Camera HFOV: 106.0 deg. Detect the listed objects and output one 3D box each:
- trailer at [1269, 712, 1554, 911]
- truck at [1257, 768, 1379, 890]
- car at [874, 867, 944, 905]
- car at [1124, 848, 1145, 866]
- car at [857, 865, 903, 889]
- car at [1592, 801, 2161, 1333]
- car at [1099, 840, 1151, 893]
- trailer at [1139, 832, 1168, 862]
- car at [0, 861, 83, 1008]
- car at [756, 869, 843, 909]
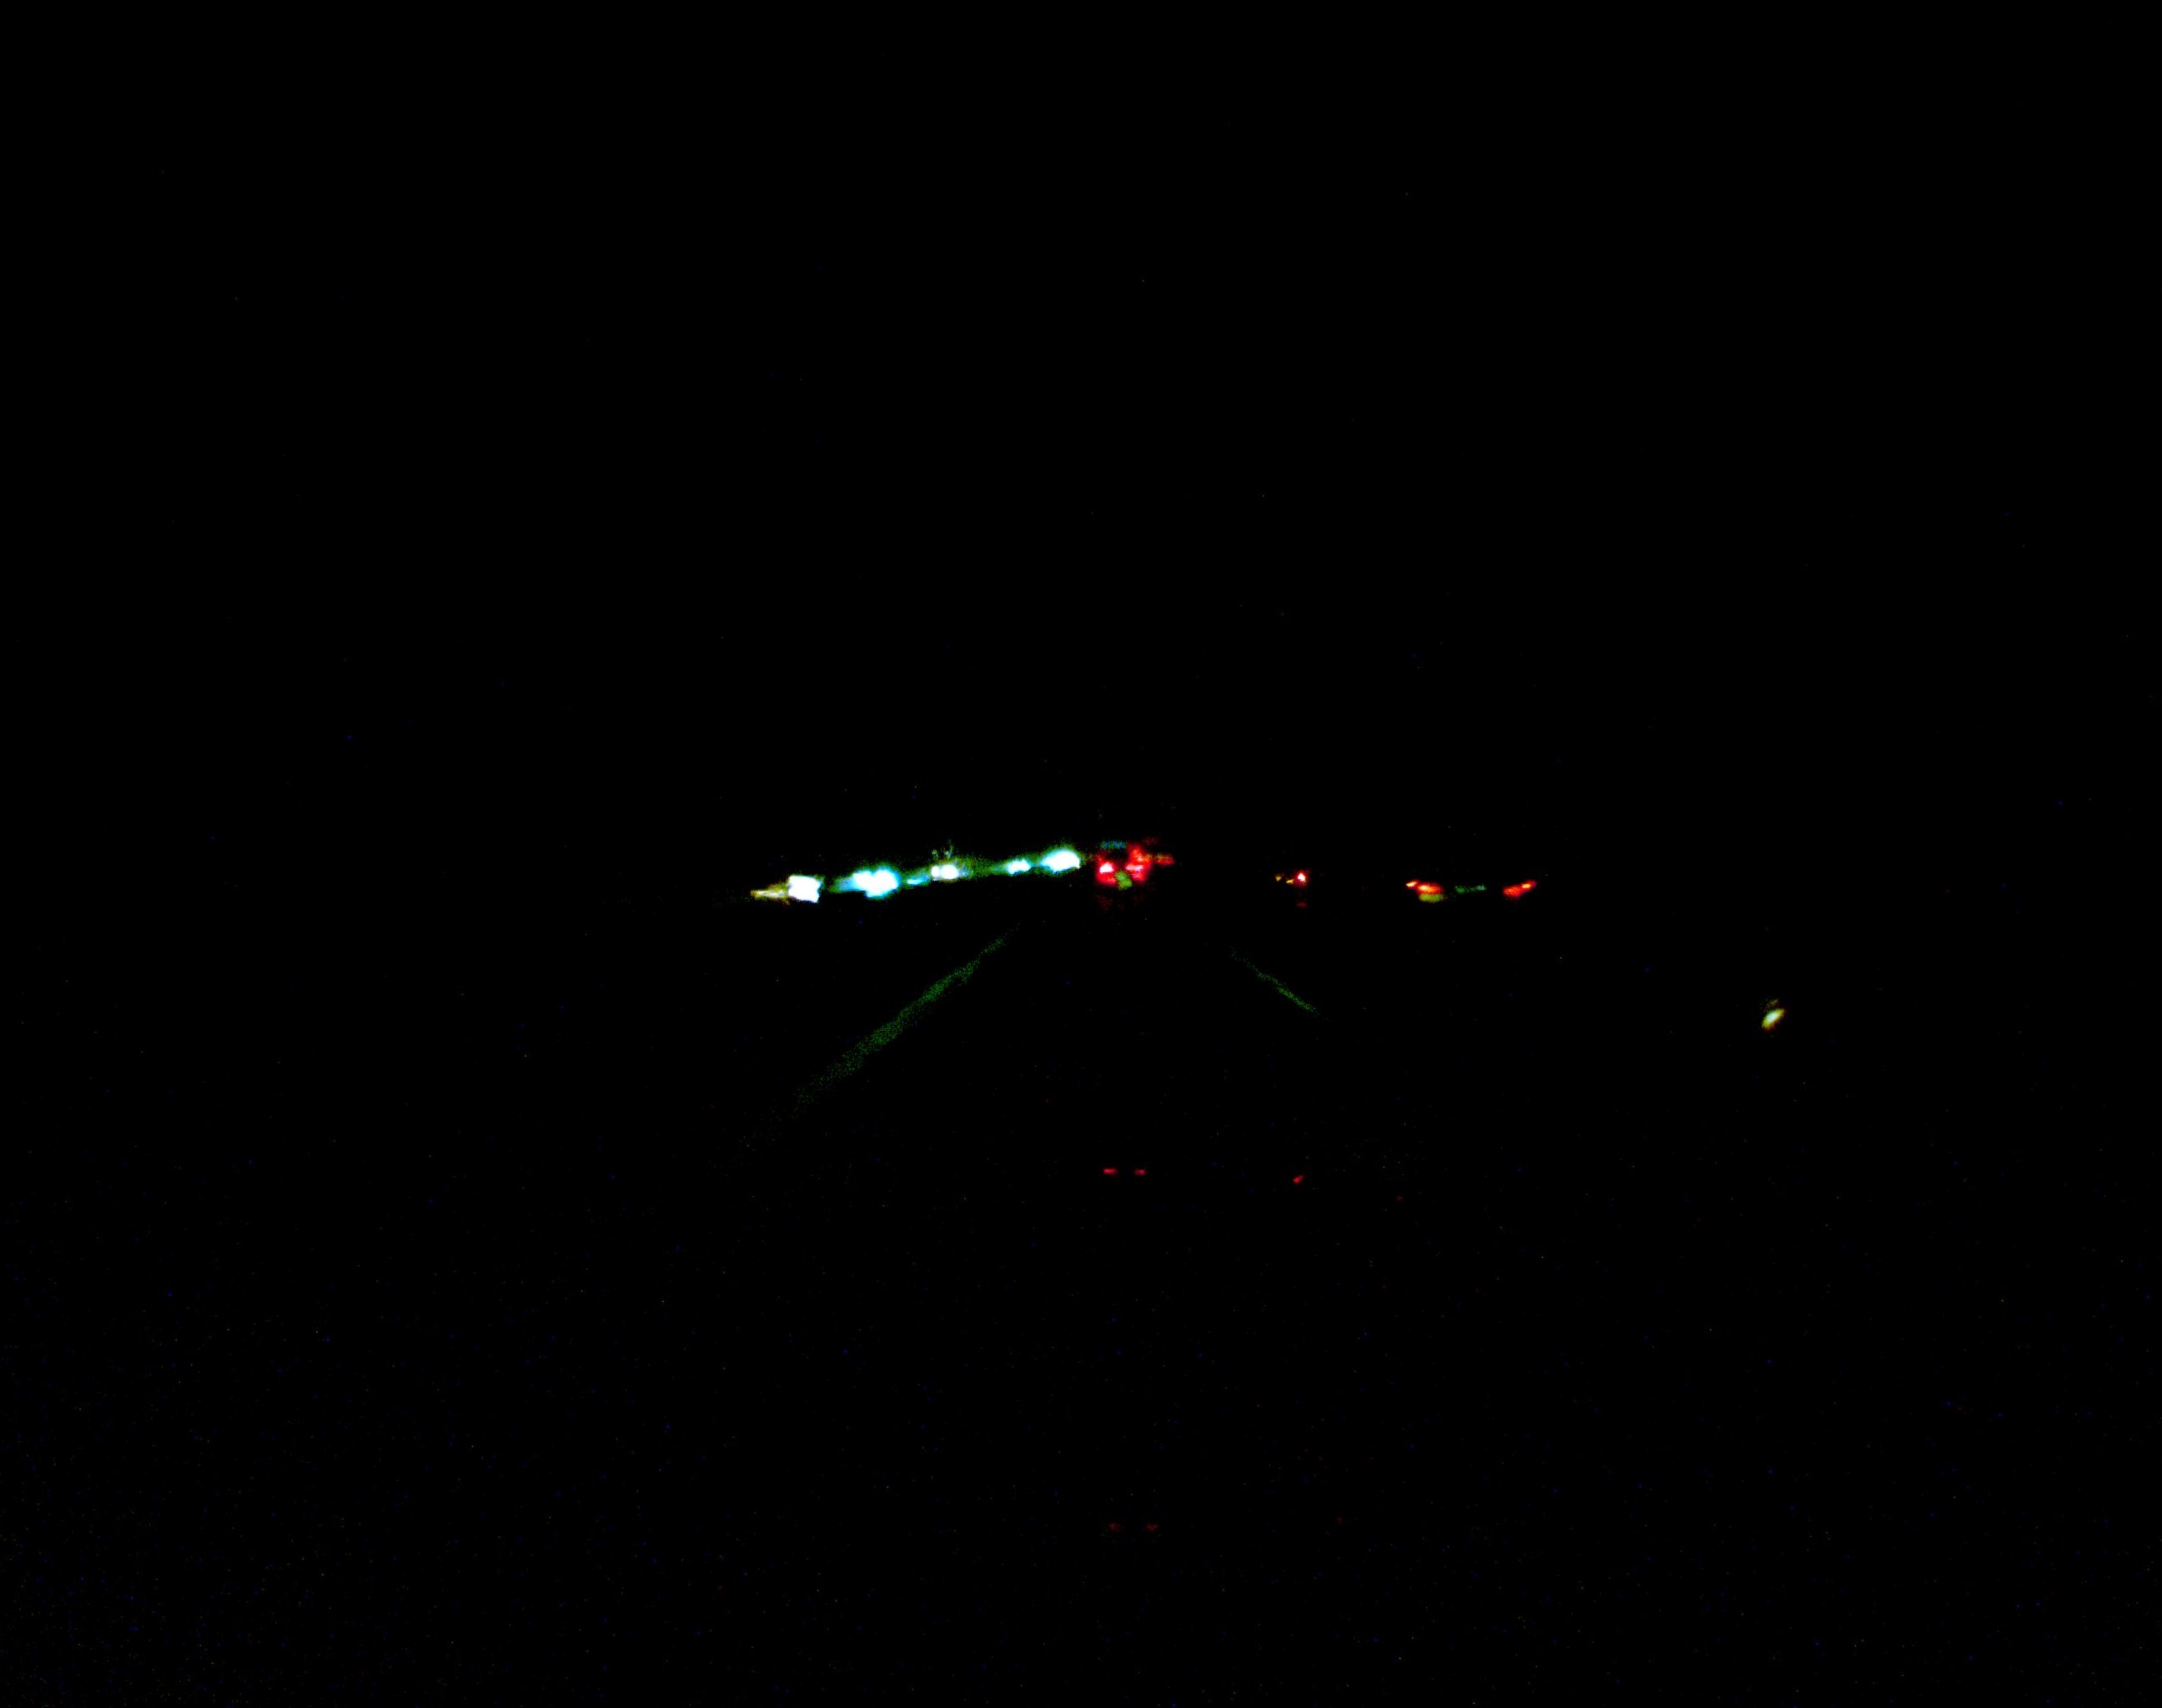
[{"bbox_3d":[8.701,-0.901,24.562,2.892,4.108,14.492,-3,0,2],"label":"trailer"},{"bbox_3d":[8.891,-0.870,31.359,2.892,4.108,6.033,-3,0,1],"label":"truck"},{"bbox_3d":[-7.592,1.379,36.413,1.986,1.440,4.439,-2,0,2],"label":"car"},{"bbox_3d":[6.247,0.348,95.846,1.988,2.013,3.997,-3,-1,-2],"label":"car"},{"bbox_3d":[-14.672,1.650,59.674,1.985,1.559,4.537,-2,0,3],"label":"car"},{"bbox_3d":[4.064,0.614,2.884,1.734,1.575,4.495,-2,0,1],"label":"car"},{"bbox_3d":[1.825,0.512,34.092,1.985,2.014,4.002,-2,-1,2],"label":"car"},{"bbox_3d":[10.879,-0.892,123.824,3.031,4.108,13.826,-3,-1,0],"label":"trailer"},{"bbox_3d":[-16.002,1.151,9.454,1.985,2.013,5.366,-2,0,4],"label":"car"},{"bbox_3d":[-11.968,1.439,34.992,1.986,1.440,4.439,-2,0,2],"label":"car"}]
